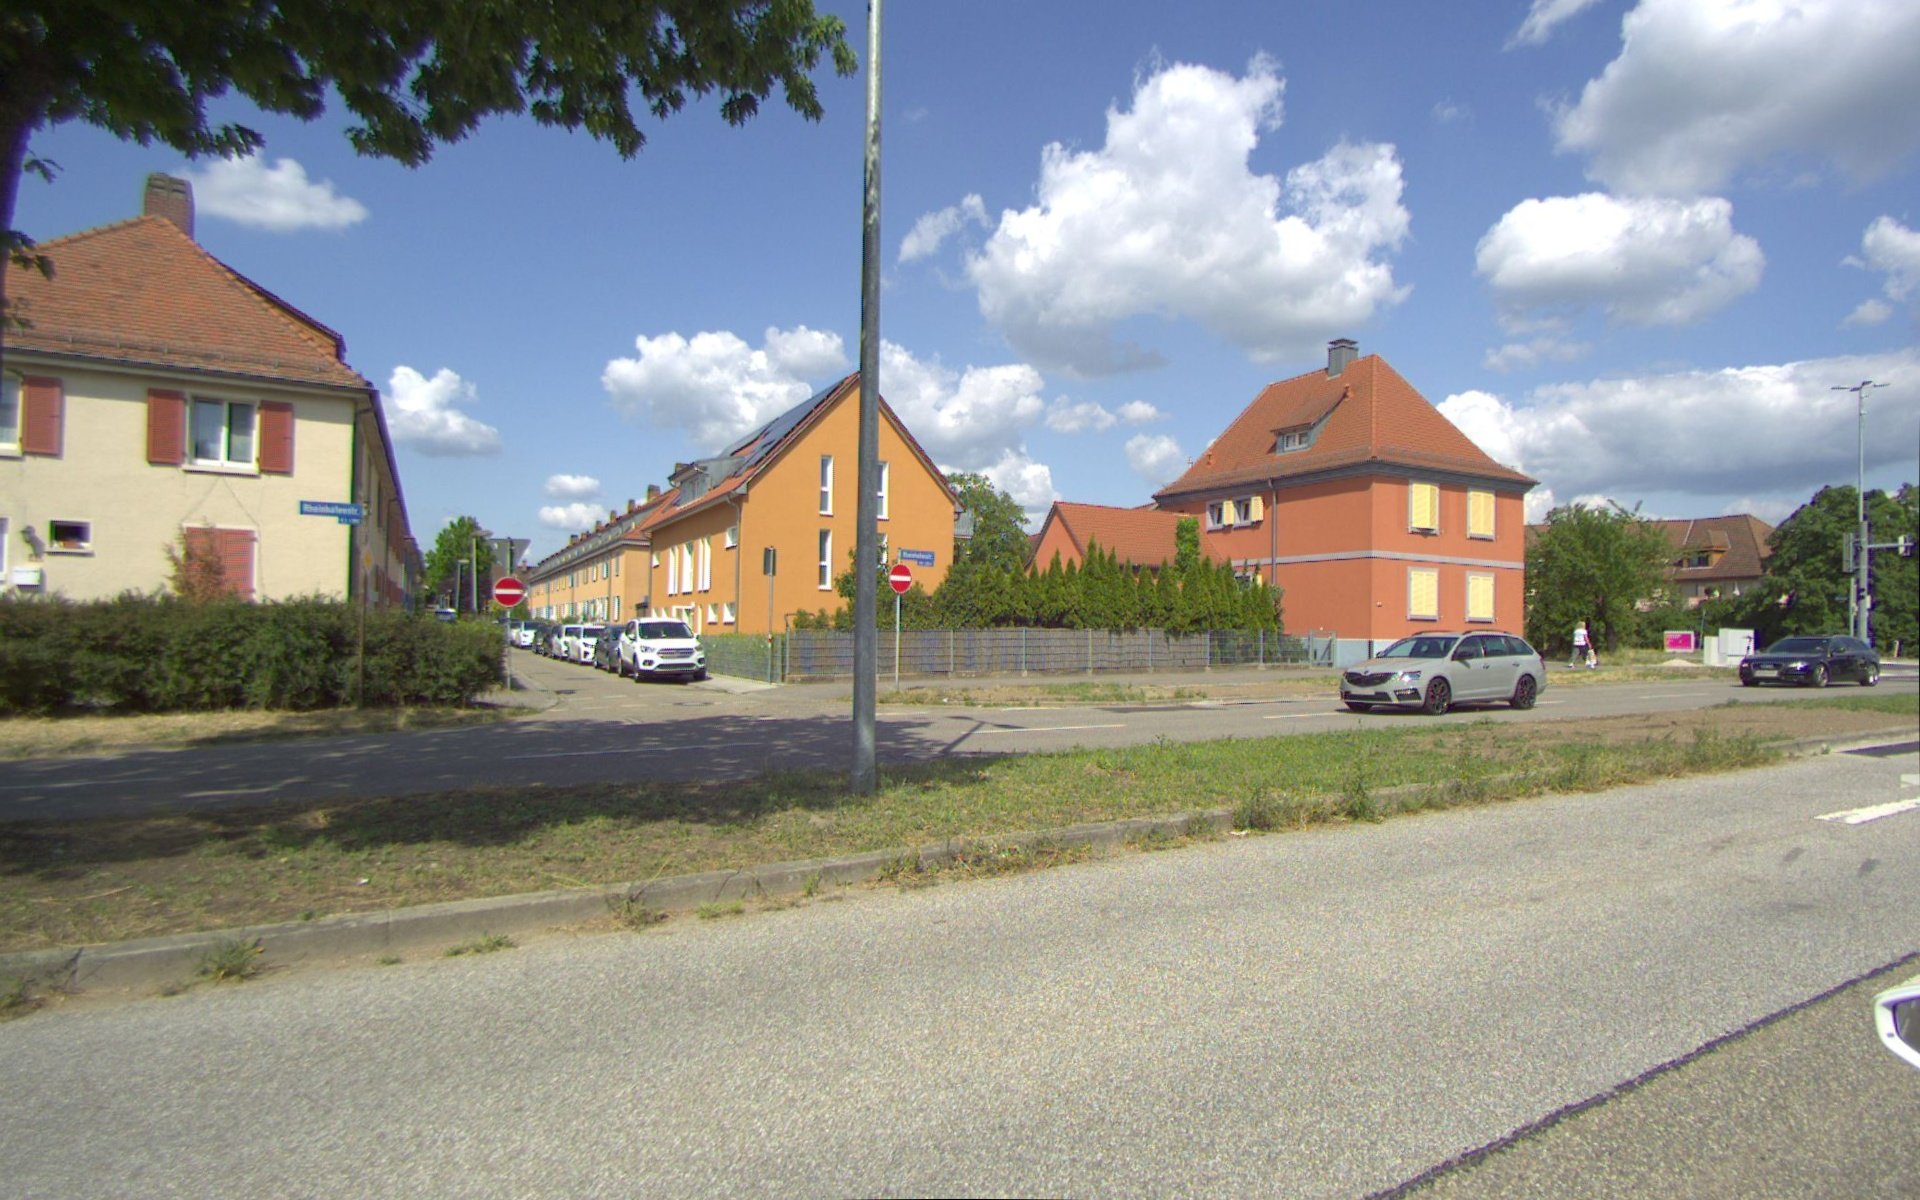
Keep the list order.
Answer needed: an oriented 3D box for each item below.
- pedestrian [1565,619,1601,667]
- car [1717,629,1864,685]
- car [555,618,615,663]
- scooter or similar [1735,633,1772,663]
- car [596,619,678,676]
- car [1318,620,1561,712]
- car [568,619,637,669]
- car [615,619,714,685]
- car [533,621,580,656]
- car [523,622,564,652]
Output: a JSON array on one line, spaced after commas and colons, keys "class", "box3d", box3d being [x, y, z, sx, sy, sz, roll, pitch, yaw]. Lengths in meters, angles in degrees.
[{"class": "pedestrian", "box3d": [21.646, 1.486, 34.900, 0.841, 1.604, 0.692, 2, 0, -30]}, {"class": "car", "box3d": [23.284, 1.576, 28.118, 4.523, 1.457, 1.763, 2, -3, -31]}, {"class": "car", "box3d": [-15.680, 1.658, 41.862, 1.974, 1.595, 3.974, 2, 0, -25]}, {"class": "scooter or similar", "box3d": [32.933, 1.984, 41.686, 1.742, 1.179, 0.586, 2, 0, -31]}, {"class": "car", "box3d": [-10.539, 1.492, 32.581, 1.974, 1.595, 3.974, 2, 0, -25]}, {"class": "car", "box3d": [8.922, 1.236, 18.601, 4.598, 1.527, 1.725, 2, -5, -30]}, {"class": "car", "box3d": [-13.268, 1.591, 37.123, 1.974, 1.595, 3.974, 2, 0, -25]}, {"class": "car", "box3d": [-8.181, 1.383, 27.578, 1.974, 1.639, 3.975, 2, -2, -25]}, {"class": "car", "box3d": [-21.146, 1.992, 52.578, 1.974, 1.595, 3.974, 2, 0, -25]}, {"class": "car", "box3d": [-24.848, 2.183, 59.852, 1.974, 1.595, 3.974, 2, 0, -25]}]
